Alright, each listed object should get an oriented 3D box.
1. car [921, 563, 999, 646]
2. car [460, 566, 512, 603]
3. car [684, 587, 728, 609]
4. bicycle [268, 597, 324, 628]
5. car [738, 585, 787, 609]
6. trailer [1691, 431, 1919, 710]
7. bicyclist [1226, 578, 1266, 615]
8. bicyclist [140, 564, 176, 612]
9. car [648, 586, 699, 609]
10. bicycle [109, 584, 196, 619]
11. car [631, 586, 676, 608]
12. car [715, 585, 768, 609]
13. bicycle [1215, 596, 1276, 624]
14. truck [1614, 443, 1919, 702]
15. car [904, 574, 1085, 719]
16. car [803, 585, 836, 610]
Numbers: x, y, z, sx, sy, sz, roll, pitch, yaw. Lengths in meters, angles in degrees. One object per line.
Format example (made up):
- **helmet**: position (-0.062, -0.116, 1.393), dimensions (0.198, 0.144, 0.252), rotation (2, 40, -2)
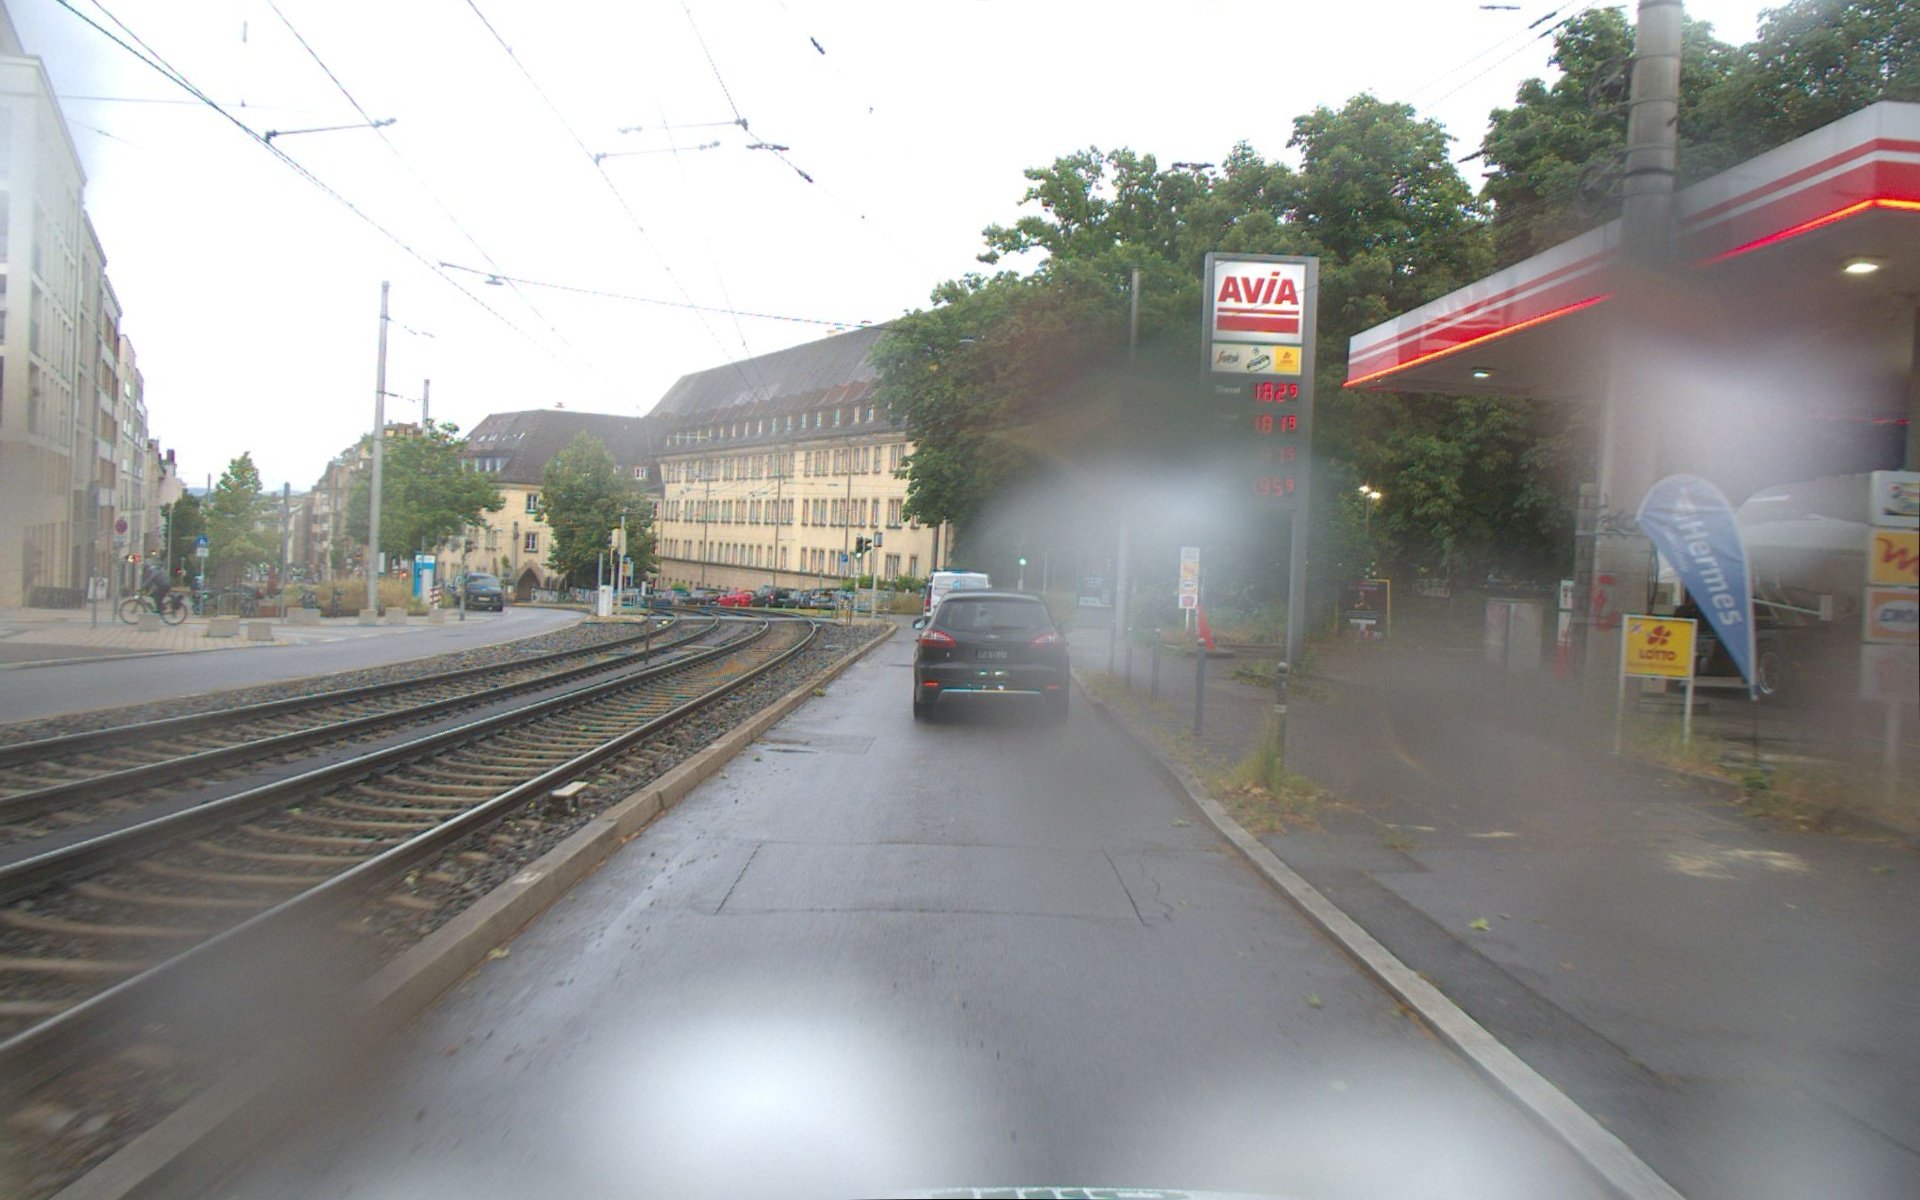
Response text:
- **car**: position (-0.051, 0.114, 44.074), dimensions (1.706, 2.049, 3.900), rotation (2, 0, -5)
- **car**: position (-21.723, -0.696, 75.940), dimensions (1.958, 1.569, 3.988), rotation (2, 0, -12)
- **car**: position (-18.841, -0.156, 122.552), dimensions (1.972, 1.569, 3.961), rotation (0, 1, -29)
- **bicycle**: position (-24.651, 0.467, 61.417), dimensions (1.778, 1.079, 0.570), rotation (2, 0, -5)
- **car**: position (-13.566, -0.227, 113.649), dimensions (1.569, 1.569, 3.948), rotation (2, 0, -37)
- **trailer**: position (14.164, -0.359, 21.339), dimensions (3.819, 3.567, 11.781), rotation (1, 1, -2)
- **bicyclist**: position (9.264, -0.119, 53.623), dimensions (0.731, 1.200, 1.062), rotation (0, 0, -39)
- **bicyclist**: position (-22.735, -0.340, 46.860), dimensions (0.766, 1.336, 0.780), rotation (0, 0, -39)
- **car**: position (-21.793, -0.185, 125.830), dimensions (1.984, 1.569, 3.936), rotation (2, 0, -43)
- **bicycle**: position (-22.838, 0.038, 46.819), dimensions (2.086, 0.959, 0.804), rotation (0, 0, -41)
- **car**: position (-24.104, -0.256, 129.846), dimensions (1.977, 1.569, 3.951), rotation (2, 0, -35)
- **car**: position (-15.595, -0.201, 118.027), dimensions (1.980, 1.569, 3.945), rotation (2, 0, -38)
- **bicycle**: position (9.243, 0.315, 53.667), dimensions (0.731, 0.884, 1.969), rotation (0, 1, -39)
- **truck**: position (13.935, -0.407, 26.498), dimensions (3.825, 3.578, 6.974), rotation (0, 0, -4)
- **car**: position (0.397, 0.512, 20.058), dimensions (1.894, 1.478, 4.318), rotation (3, 0, 1)
- **car**: position (-8.959, -0.167, 105.340), dimensions (1.628, 1.502, 3.634), rotation (2, 0, -11)
